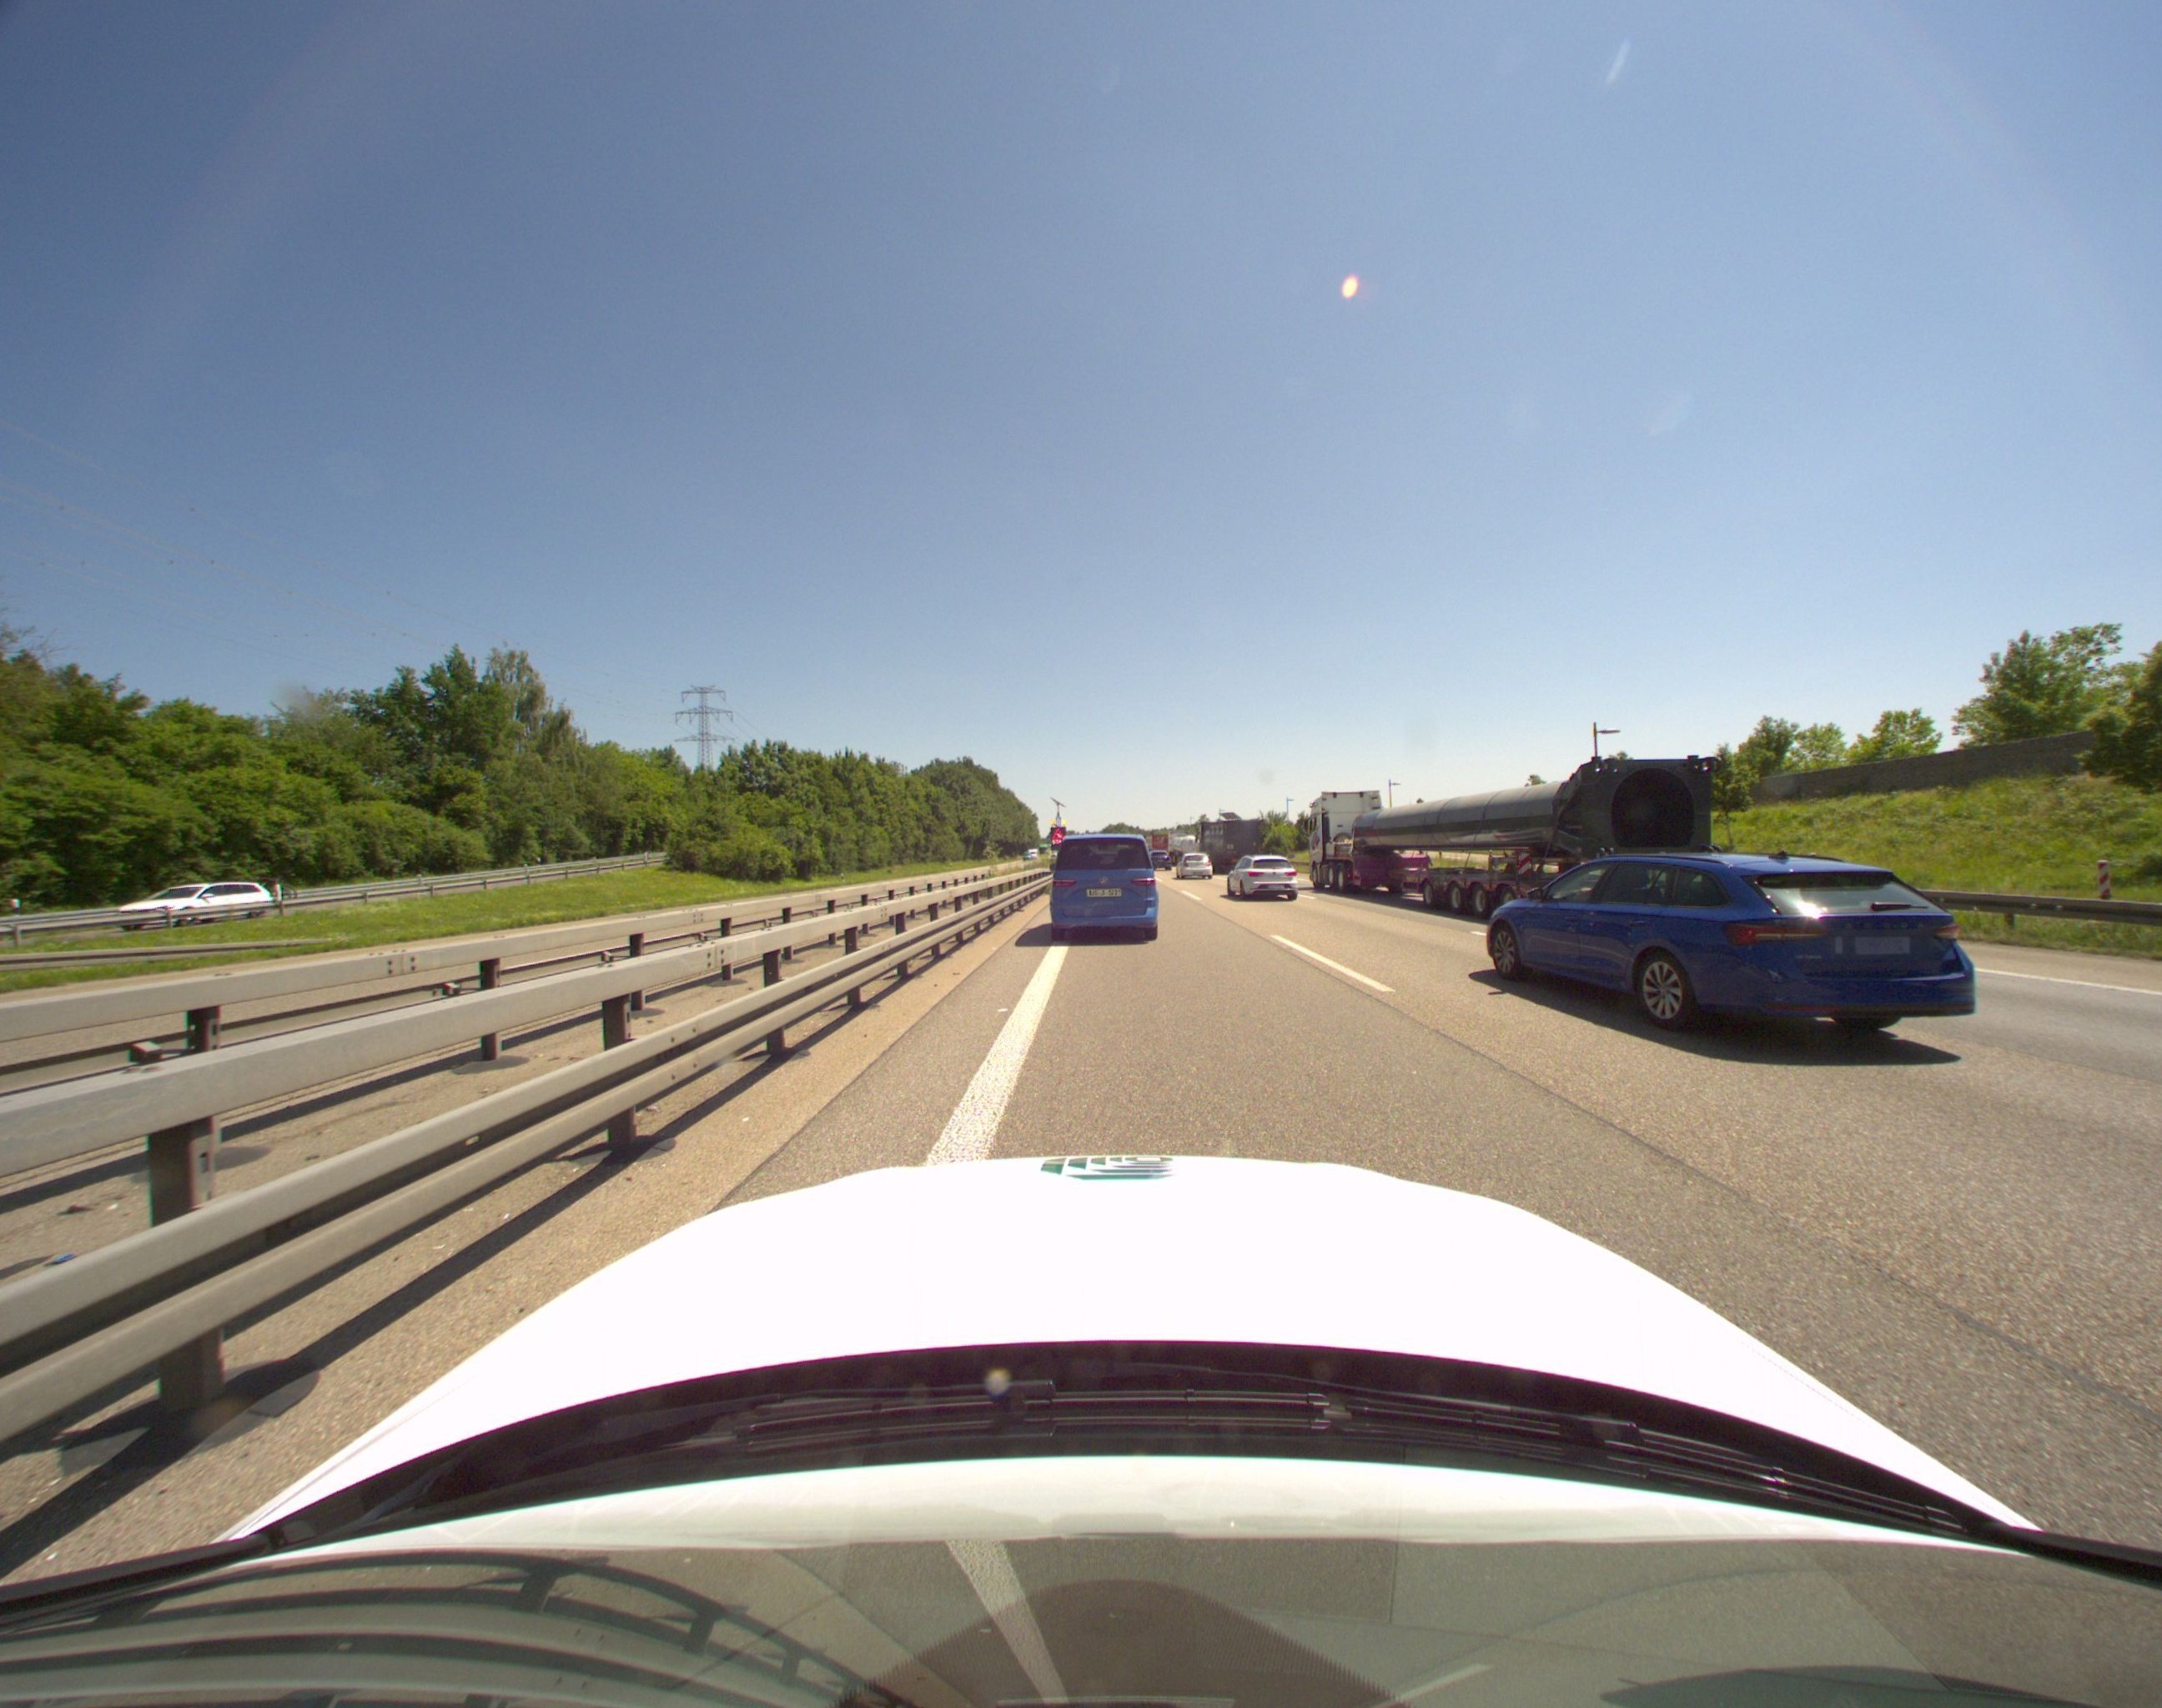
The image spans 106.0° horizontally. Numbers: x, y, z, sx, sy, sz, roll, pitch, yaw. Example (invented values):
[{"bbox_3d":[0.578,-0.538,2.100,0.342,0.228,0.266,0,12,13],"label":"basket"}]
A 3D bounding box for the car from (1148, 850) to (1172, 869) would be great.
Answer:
[{"bbox_3d":[6.596,0.488,68.456,1.774,1.524,4.001,0,-1,2],"label":"car"}]

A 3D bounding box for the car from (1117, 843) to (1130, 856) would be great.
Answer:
[{"bbox_3d":[8.708,-0.897,167.416,2.541,2.717,5.623,0,-1,2],"label":"car"}]

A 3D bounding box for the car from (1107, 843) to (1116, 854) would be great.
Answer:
[{"bbox_3d":[9.114,-1.555,243.913,2.476,3.204,7.375,0,-1,2],"label":"car"}]

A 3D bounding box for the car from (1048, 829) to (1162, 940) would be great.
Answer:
[{"bbox_3d":[0.518,0.538,15.565,1.893,1.838,4.003,0,-1,3],"label":"car"}]

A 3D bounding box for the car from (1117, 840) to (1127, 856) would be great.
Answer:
[{"bbox_3d":[12.511,-1.795,250.064,2.706,4.713,11.564,0,-1,2],"label":"car"}]

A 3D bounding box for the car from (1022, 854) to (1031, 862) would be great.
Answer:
[{"bbox_3d":[-12.739,0.886,190.343,1.789,1.886,4.001,0,-1,2],"label":"car"}]

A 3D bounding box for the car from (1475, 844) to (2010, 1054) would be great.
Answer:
[{"bbox_3d":[5.632,0.684,7.843,1.699,1.441,4.430,0,-1,2],"label":"car"}]

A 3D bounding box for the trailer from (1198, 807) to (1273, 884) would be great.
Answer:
[{"bbox_3d":[11.162,-0.464,60.413,3.632,5.136,13.082,0,-1,2],"label":"trailer"}]

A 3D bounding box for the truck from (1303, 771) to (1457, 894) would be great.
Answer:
[{"bbox_3d":[11.018,-0.667,31.038,3.609,4.095,7.532,0,-1,4],"label":"truck"}]

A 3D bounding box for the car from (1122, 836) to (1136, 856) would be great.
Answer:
[{"bbox_3d":[13.064,-2.185,220.598,3.209,5.257,8.140,0,-1,-1],"label":"car"}]

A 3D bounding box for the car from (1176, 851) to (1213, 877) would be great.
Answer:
[{"bbox_3d":[6.574,0.606,47.383,1.832,1.454,4.003,0,-1,3],"label":"car"}]

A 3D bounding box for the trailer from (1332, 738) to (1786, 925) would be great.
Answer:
[{"bbox_3d":[10.337,-0.253,21.398,3.630,3.079,15.787,0,-1,4],"label":"trailer"}]

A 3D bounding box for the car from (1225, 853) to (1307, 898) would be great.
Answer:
[{"bbox_3d":[5.982,0.671,26.758,1.861,1.361,4.001,0,0,1],"label":"car"}]

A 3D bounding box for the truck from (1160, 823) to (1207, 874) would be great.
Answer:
[{"bbox_3d":[11.256,-0.460,91.424,3.608,5.213,15.690,0,-1,1],"label":"truck"}]

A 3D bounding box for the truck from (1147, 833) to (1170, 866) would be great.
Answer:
[{"bbox_3d":[12.187,-0.582,129.020,3.057,4.920,10.693,0,-1,2],"label":"truck"}]

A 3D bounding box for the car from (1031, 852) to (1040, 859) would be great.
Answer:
[{"bbox_3d":[-11.620,0.389,208.114,1.789,1.886,4.001,0,-1,2],"label":"car"}]

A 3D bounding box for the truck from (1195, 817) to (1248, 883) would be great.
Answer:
[{"bbox_3d":[11.429,-0.301,66.874,3.644,5.180,5.711,0,-1,2],"label":"truck"}]

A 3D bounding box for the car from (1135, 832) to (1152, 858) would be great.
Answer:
[{"bbox_3d":[13.039,-1.882,169.508,3.206,5.257,8.147,0,-1,2],"label":"car"}]

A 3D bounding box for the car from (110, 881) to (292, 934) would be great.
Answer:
[{"bbox_3d":[-31.563,1.859,29.472,1.632,1.674,4.889,0,-1,-7],"label":"car"}]

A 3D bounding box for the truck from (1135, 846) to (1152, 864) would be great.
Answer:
[{"bbox_3d":[6.786,0.136,88.439,1.719,1.857,4.001,0,-1,2],"label":"truck"}]

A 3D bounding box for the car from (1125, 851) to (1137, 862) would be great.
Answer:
[{"bbox_3d":[8.667,0.447,140.514,1.986,2.014,4.001,0,-1,2],"label":"car"}]
